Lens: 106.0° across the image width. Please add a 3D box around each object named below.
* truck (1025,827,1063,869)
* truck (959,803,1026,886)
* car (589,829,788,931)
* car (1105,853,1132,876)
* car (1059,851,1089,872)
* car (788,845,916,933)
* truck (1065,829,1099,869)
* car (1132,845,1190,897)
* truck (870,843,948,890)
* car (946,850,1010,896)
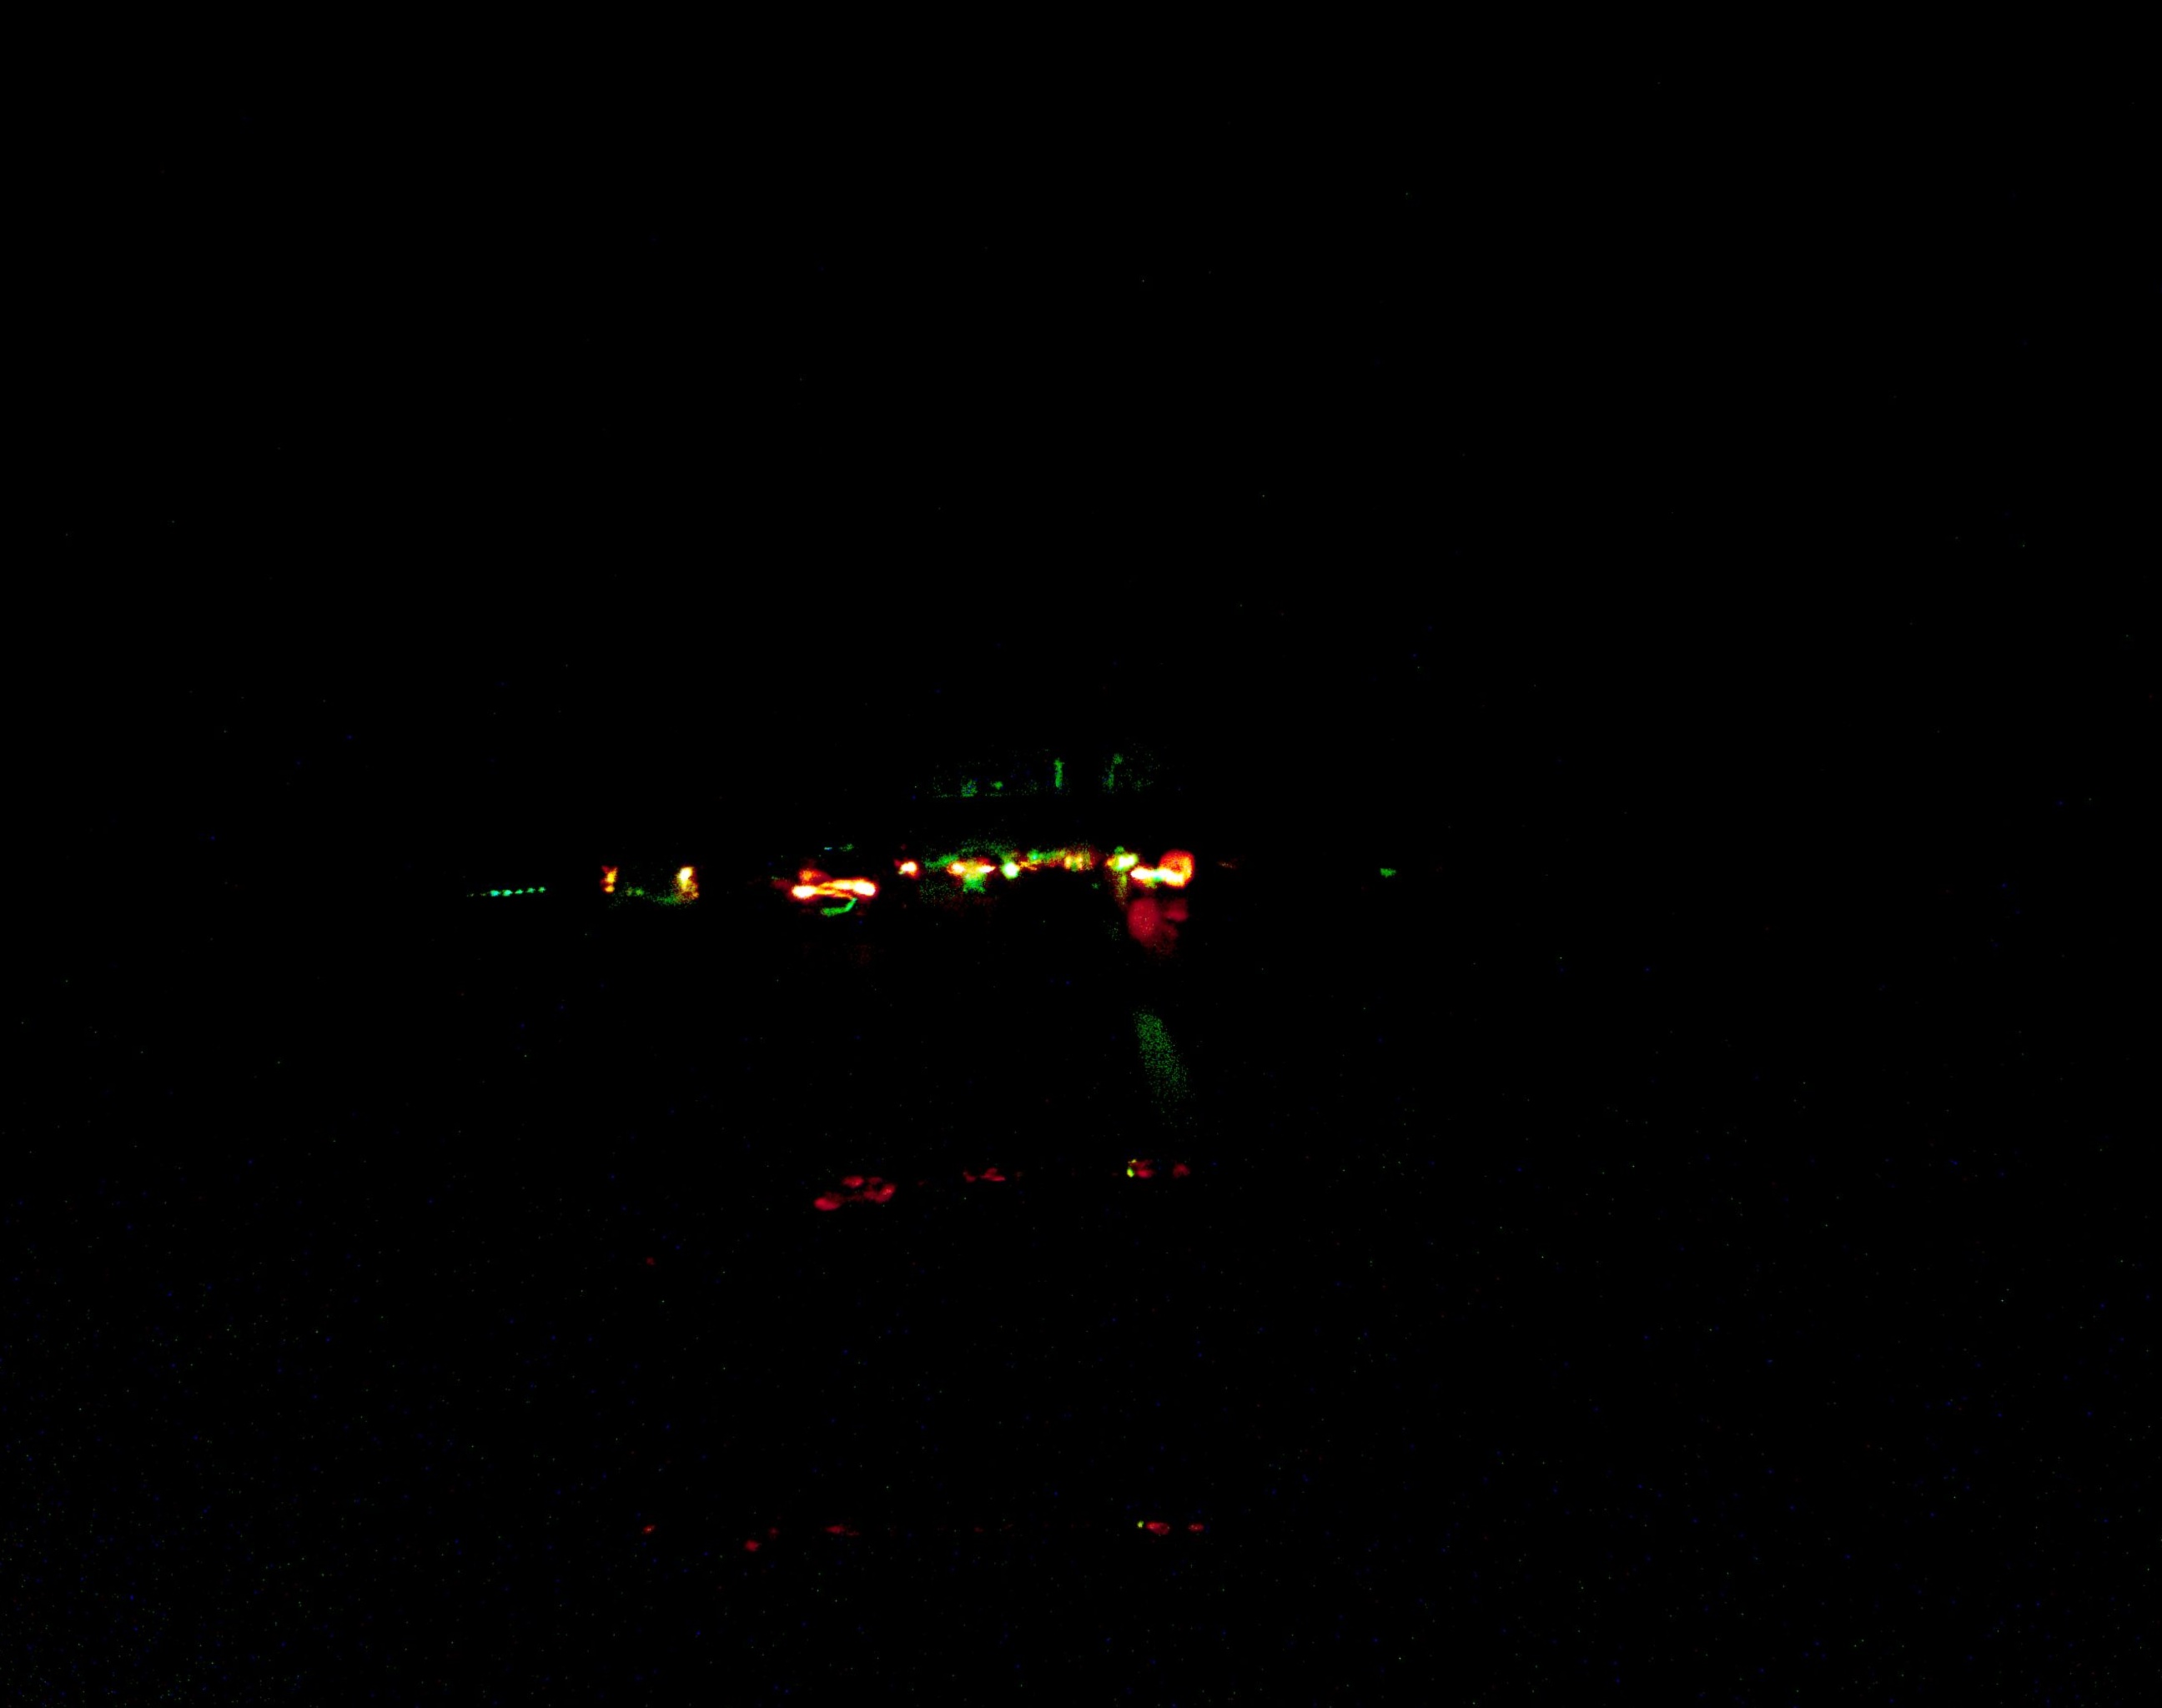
[{"bbox_3d":[-5.030,-0.786,113.762,4.237,5.444,10.890,0,0,2],"label":"truck"},{"bbox_3d":[-5.404,-0.525,51.636,3.648,4.737,9.840,0,0,-3],"label":"truck"},{"bbox_3d":[-9.250,0.538,19.918,2.116,2.104,5.628,-1,0,0],"label":"car"},{"bbox_3d":[2.959,0.813,65.126,1.987,1.704,4.459,0,0,1],"label":"car"},{"bbox_3d":[-0.660,0.760,82.304,2.823,2.014,5.511,0,0,1],"label":"car"},{"bbox_3d":[-4.885,0.664,17.930,1.761,1.689,3.997,-1,1,-2],"label":"car"},{"bbox_3d":[0.034,-0.654,110.278,4.151,5.215,9.946,0,0,-2],"label":"truck"},{"bbox_3d":[2.896,0.594,30.197,1.871,1.762,4.001,0,0,1],"label":"car"},{"bbox_3d":[-8.492,0.596,40.860,2.850,2.201,5.854,0,0,-2],"label":"truck"},{"bbox_3d":[-4.139,0.726,33.308,2.032,1.761,4.515,0,0,0],"label":"car"}]
